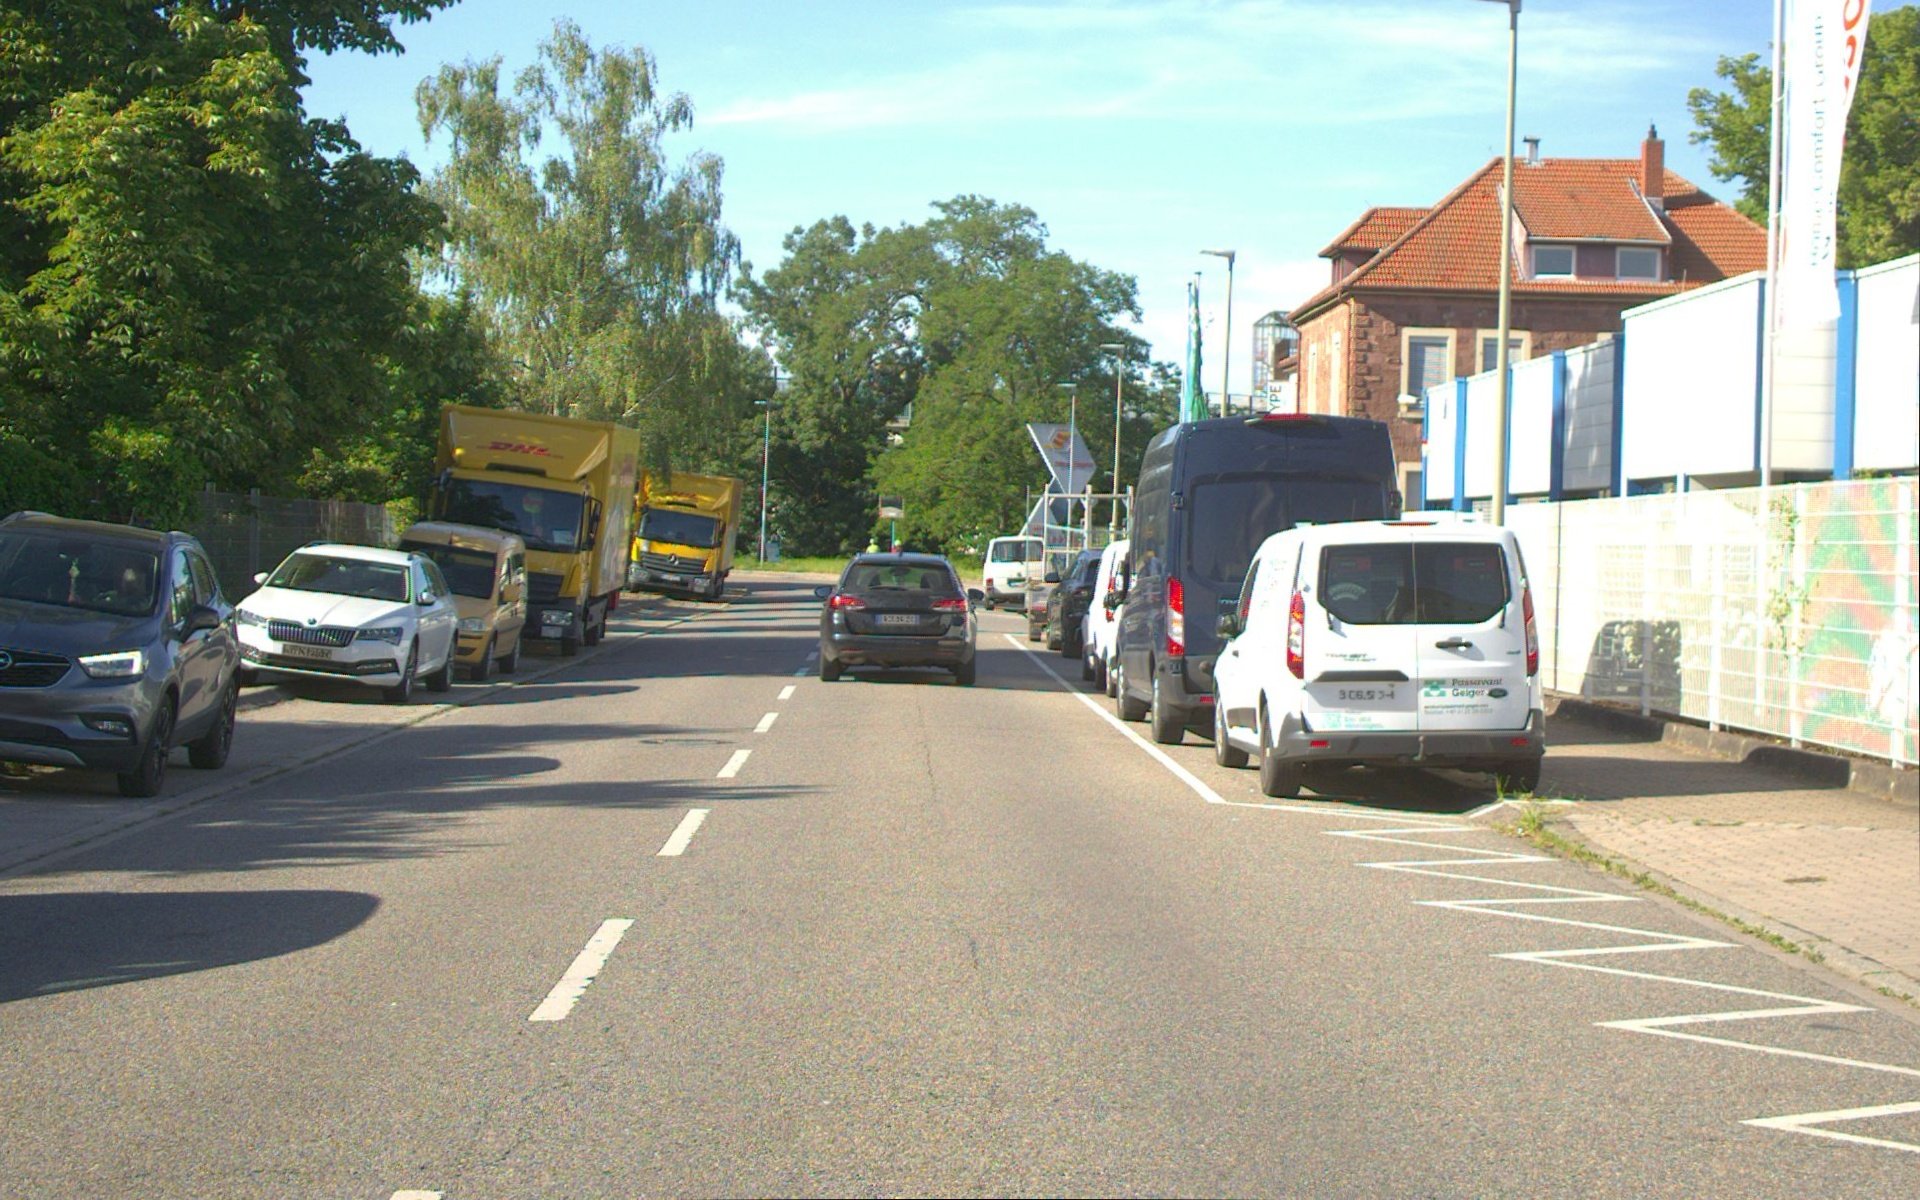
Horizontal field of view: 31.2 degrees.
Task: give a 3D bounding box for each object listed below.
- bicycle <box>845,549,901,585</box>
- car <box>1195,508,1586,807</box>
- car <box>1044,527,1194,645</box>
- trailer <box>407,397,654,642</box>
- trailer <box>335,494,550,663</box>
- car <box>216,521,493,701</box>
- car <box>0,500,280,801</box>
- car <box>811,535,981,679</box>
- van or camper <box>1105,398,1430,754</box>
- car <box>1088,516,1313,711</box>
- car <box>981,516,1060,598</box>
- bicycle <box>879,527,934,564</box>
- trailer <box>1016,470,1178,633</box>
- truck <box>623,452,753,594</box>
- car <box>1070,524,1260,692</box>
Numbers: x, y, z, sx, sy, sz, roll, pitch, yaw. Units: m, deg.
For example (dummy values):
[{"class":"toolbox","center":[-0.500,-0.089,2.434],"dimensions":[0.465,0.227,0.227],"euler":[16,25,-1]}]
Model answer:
[{"class":"bicycle","center":[-3.266,-1.232,128.622],"dimensions":[0.804,1.217,2.258],"euler":[3,1,-40]},{"class":"car","center":[2.888,0.331,24.223],"dimensions":[1.885,1.791,5.104],"euler":[3,1,-2]},{"class":"car","center":[2.428,-0.244,53.632],"dimensions":[1.994,1.661,4.732],"euler":[3,1,-1]},{"class":"trailer","center":[-6.495,-1.224,53.176],"dimensions":[2.991,3.431,8.162],"euler":[1,1,-2]},{"class":"trailer","center":[-6.297,-0.286,42.282],"dimensions":[1.993,1.935,4.415],"euler":[1,1,-1]},{"class":"car","center":[-6.305,0.059,36.360],"dimensions":[1.908,1.587,5.025],"euler":[6,1,0]},{"class":"car","center":[-5.903,0.246,22.989],"dimensions":[1.908,1.657,4.464],"euler":[6,1,-3]},{"class":"car","center":[-0.705,0.041,39.874],"dimensions":[1.847,1.525,4.000],"euler":[1,1,0]},{"class":"van or camper","center":[2.596,-0.232,30.654],"dimensions":[2.141,2.750,6.162],"euler":[3,1,-1]},{"class":"car","center":[2.481,0.099,36.653],"dimensions":[1.886,1.840,5.104],"euler":[3,1,-1]},{"class":"car","center":[1.571,-1.131,90.724],"dimensions":[1.874,2.007,5.161],"euler":[3,1,0]},{"class":"bicycle","center":[-1.946,-1.987,124.940],"dimensions":[0.803,1.263,2.258],"euler":[3,1,-35]},{"class":"trailer","center":[2.331,-0.858,60.168],"dimensions":[2.460,2.663,5.702],"euler":[1,1,-1]},{"class":"truck","center":[-7.573,-2.238,96.764],"dimensions":[2.631,3.493,8.658],"euler":[7,2,-1]},{"class":"car","center":[2.432,0.058,41.896],"dimensions":[1.855,1.824,5.168],"euler":[3,1,-1]}]
